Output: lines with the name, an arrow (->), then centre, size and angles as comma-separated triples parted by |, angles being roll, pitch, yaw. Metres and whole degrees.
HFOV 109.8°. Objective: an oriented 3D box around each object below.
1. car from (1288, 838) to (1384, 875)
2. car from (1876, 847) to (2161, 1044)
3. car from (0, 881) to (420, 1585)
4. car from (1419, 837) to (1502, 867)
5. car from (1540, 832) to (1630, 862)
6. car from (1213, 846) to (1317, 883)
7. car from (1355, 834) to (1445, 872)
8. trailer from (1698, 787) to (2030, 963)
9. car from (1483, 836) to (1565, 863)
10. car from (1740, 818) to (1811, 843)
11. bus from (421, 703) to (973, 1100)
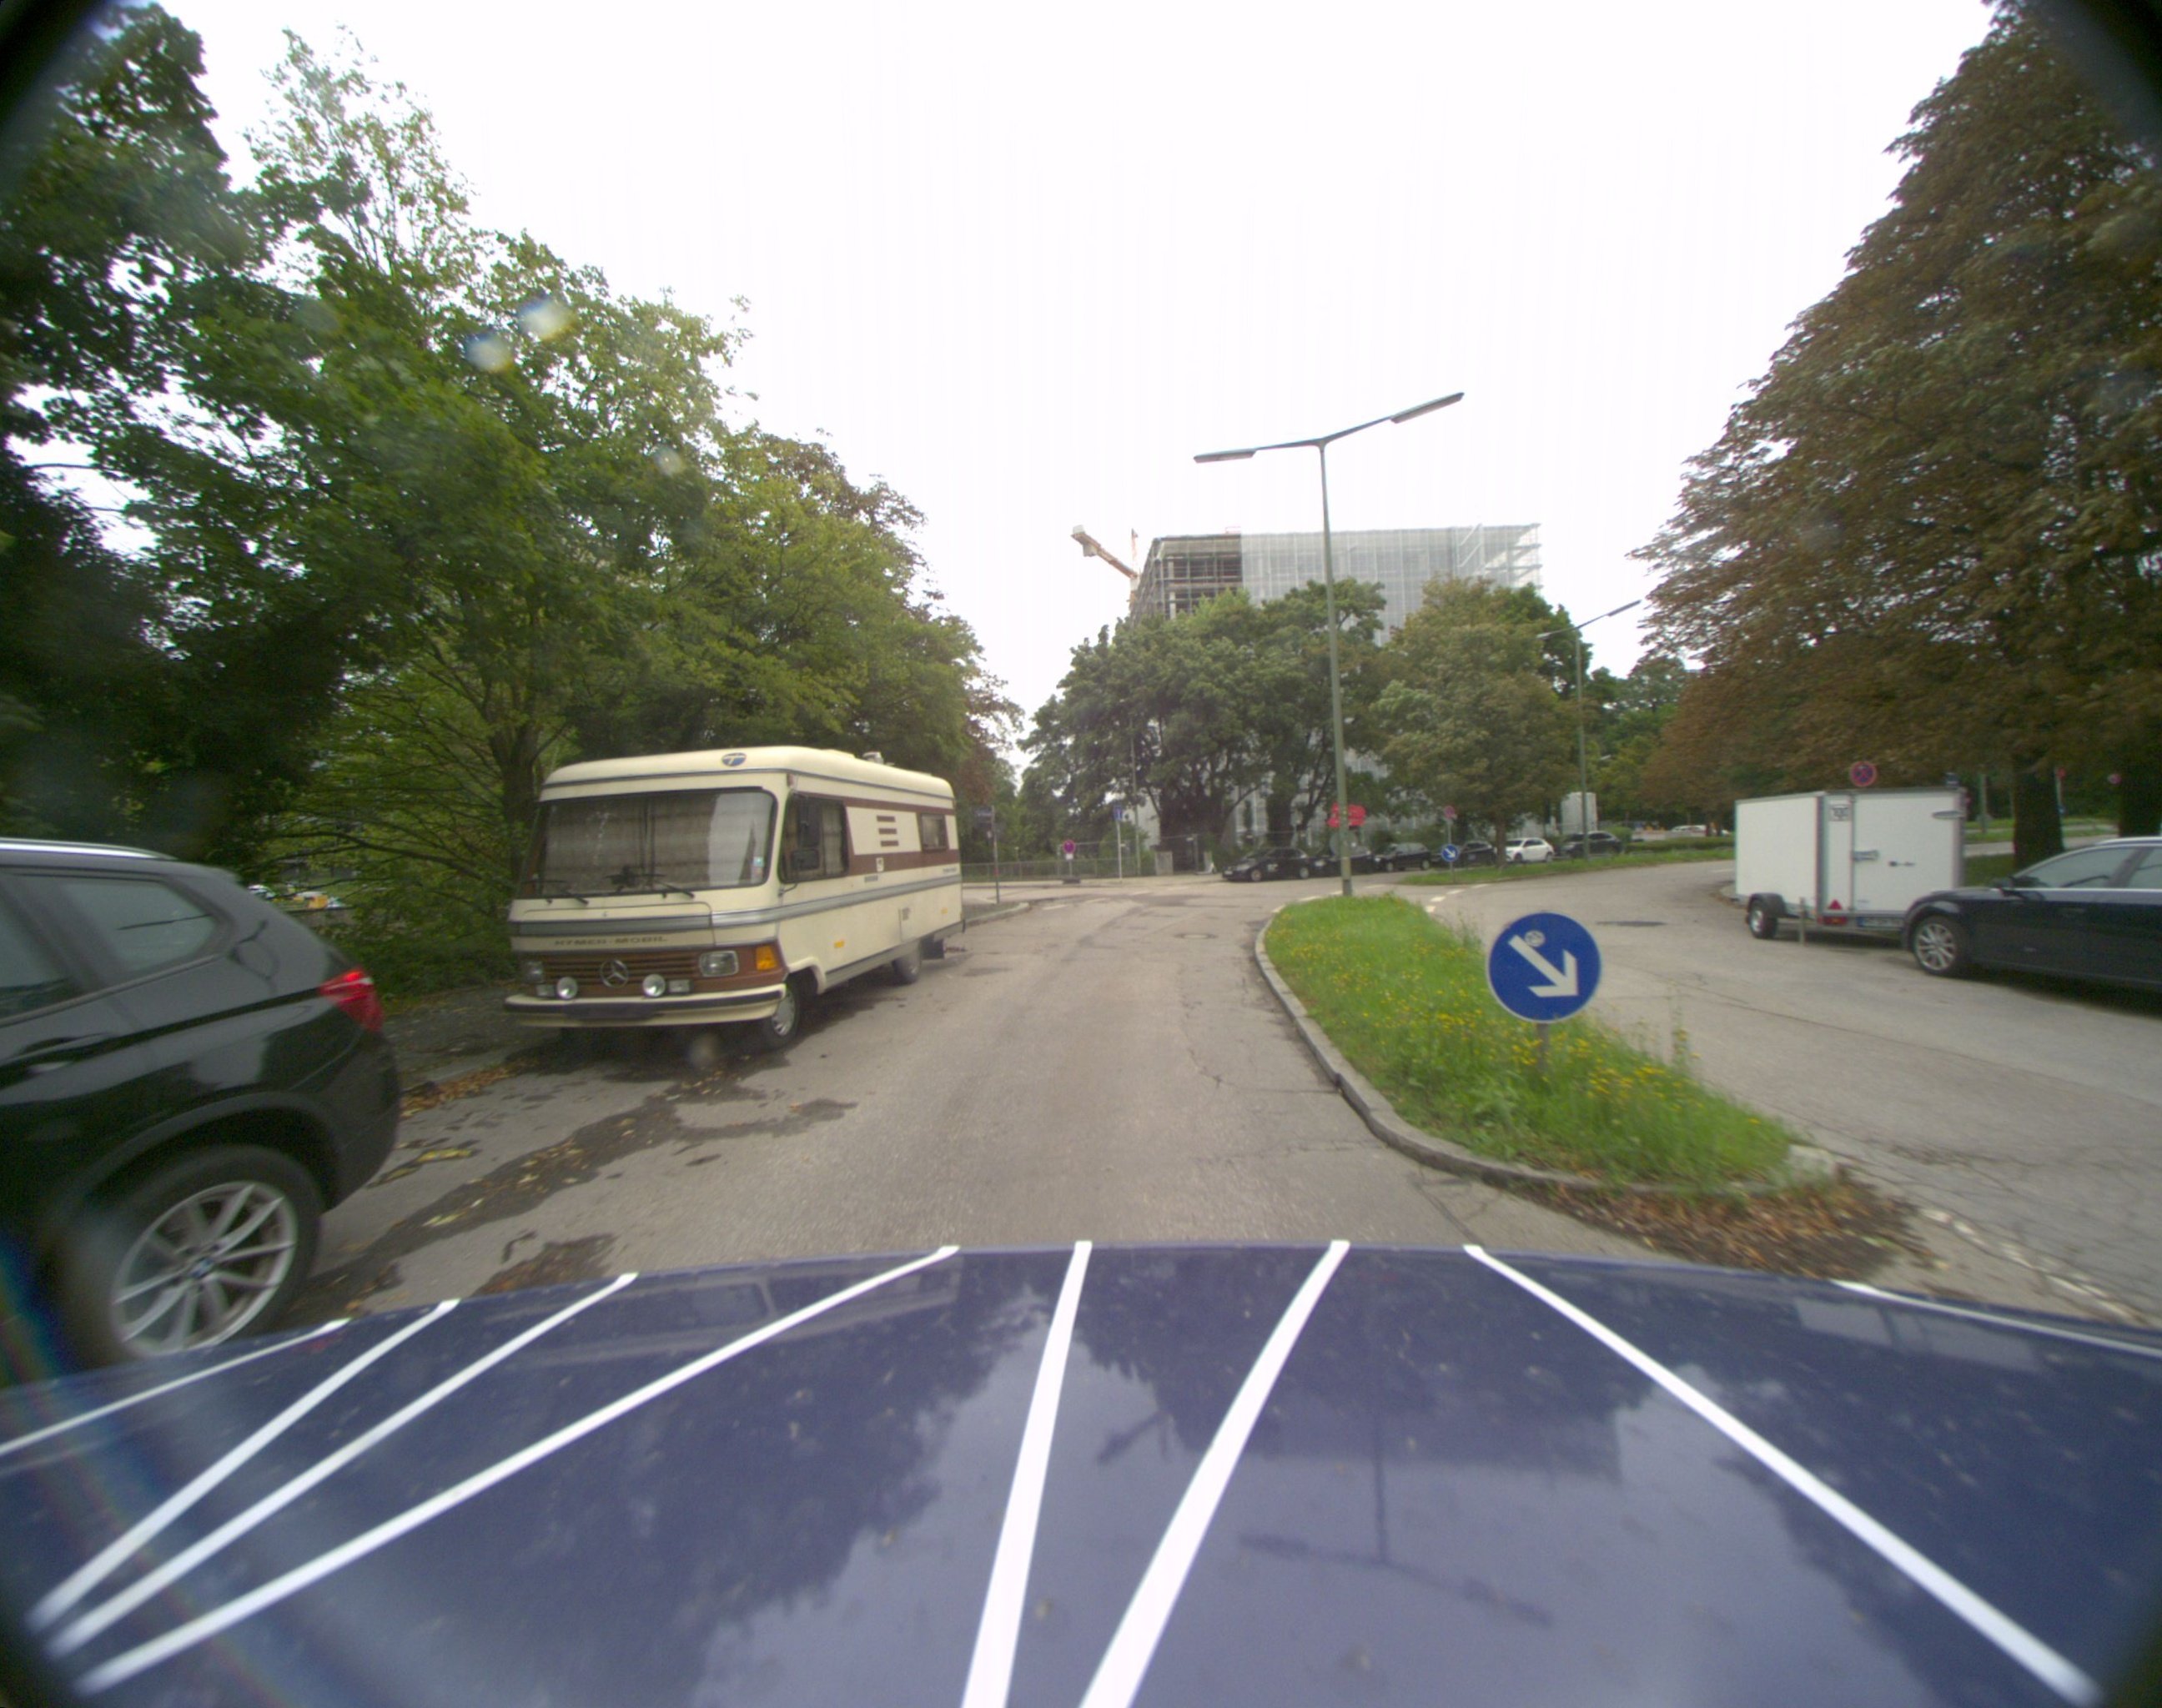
car -> 11.714, 0.103, 34.856 | 4.006, 1.532, 1.995 | -2, 1, -30
car -> 9.184, 0.686, 6.105 | 1.874, 1.429, 4.333 | -1, 0, 15
car -> -3.513, 0.961, 0.721 | 1.780, 1.640, 4.460 | -2, 0, 0
car -> 19.773, -0.105, 39.552 | 4.011, 1.452, 1.836 | -2, 0, -28
car -> 28.638, -0.382, 43.193 | 4.399, 1.596, 1.889 | 0, -1, -17
car -> 7.945, 0.407, 32.768 | 4.048, 1.425, 1.995 | -2, 2, -28
car -> 15.674, -0.079, 37.292 | 4.005, 1.696, 1.995 | -2, 2, -28
trailer -> 10.979, 0.249, 11.201 | 1.810, 2.002, 4.842 | -2, 0, 26
car -> 24.299, -0.247, 41.705 | 4.223, 1.375, 1.798 | -2, 0, -26
car -> 59.471, -1.980, 65.164 | 2.000, 2.002, 4.154 | -2, 0, -9
bus -> -3.114, 0.351, 8.119 | 2.319, 2.683, 5.737 | -2, 0, 8
